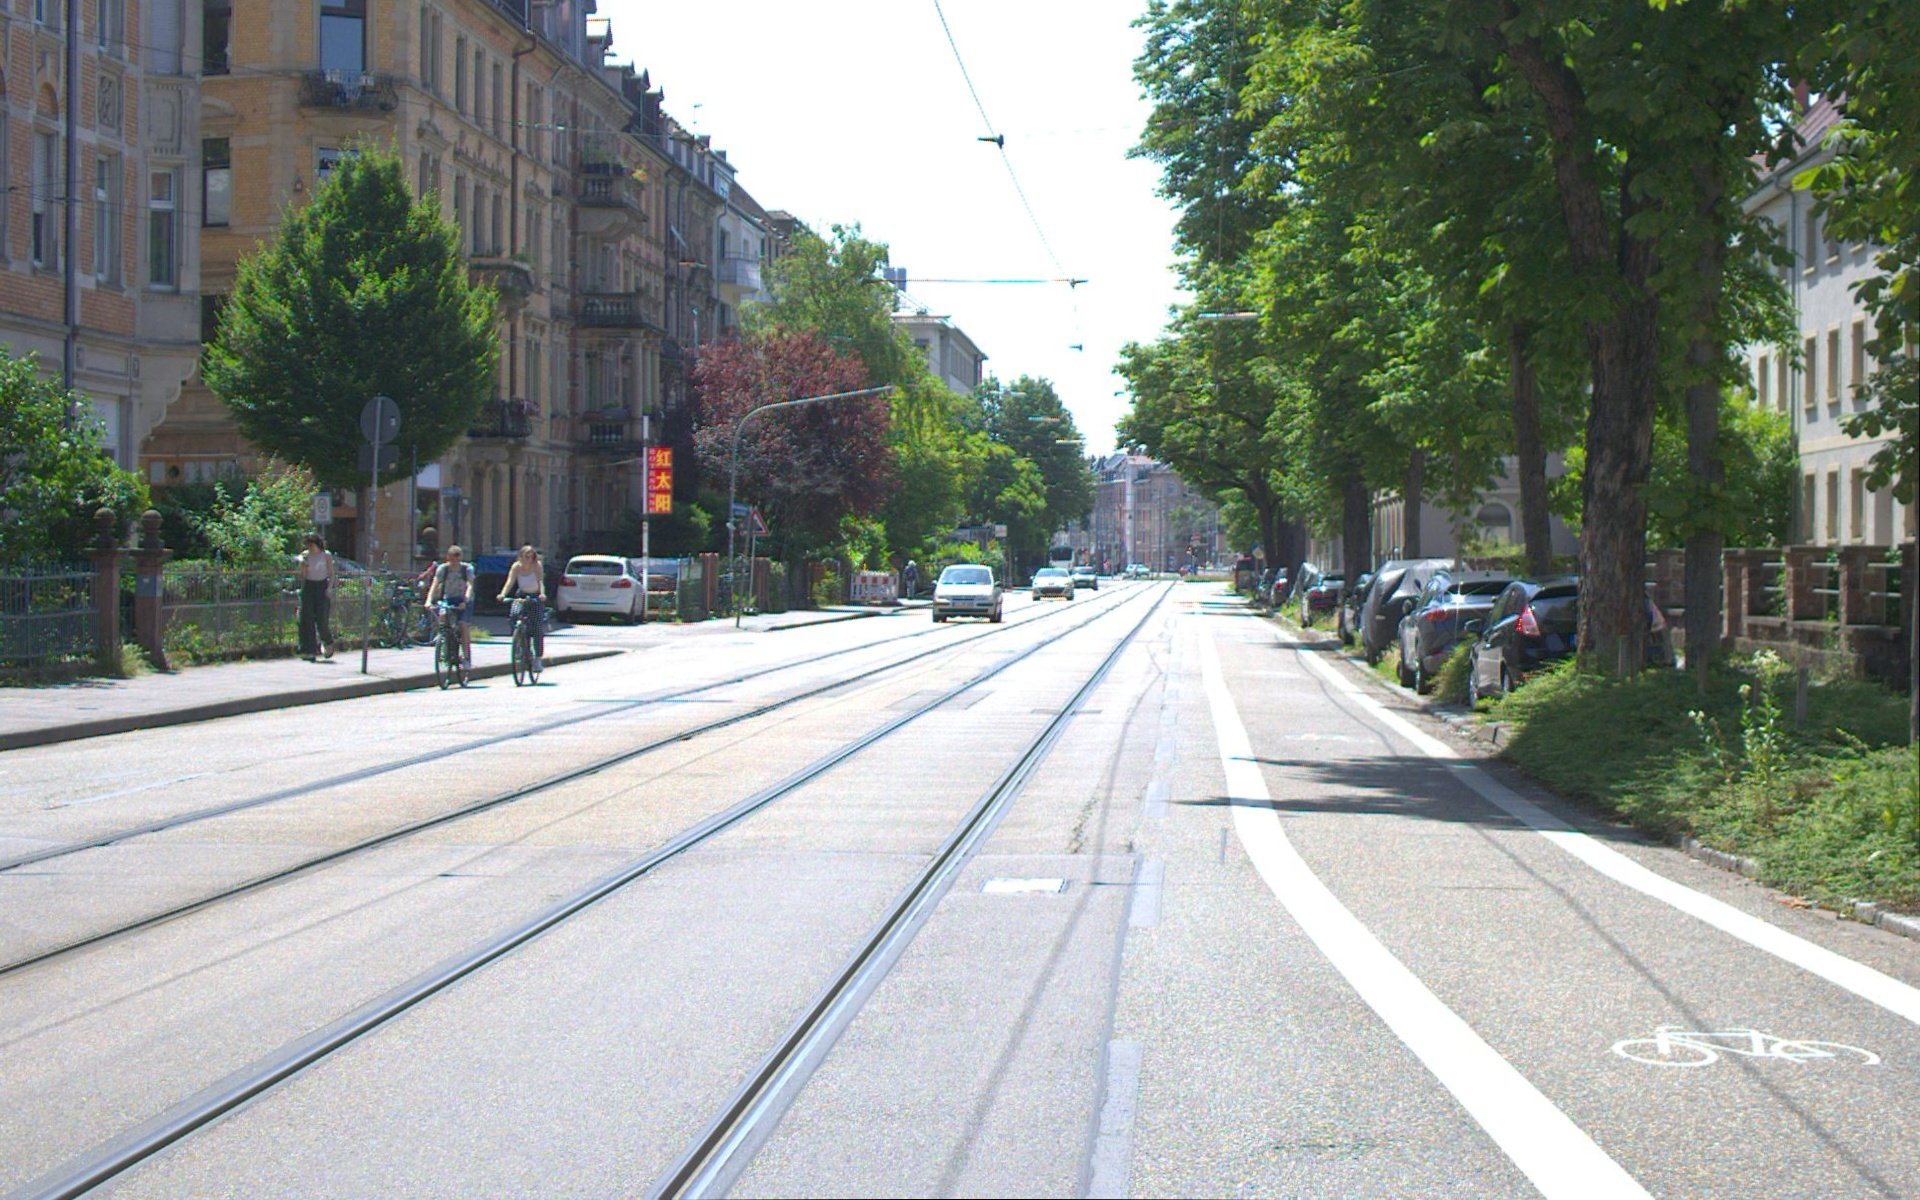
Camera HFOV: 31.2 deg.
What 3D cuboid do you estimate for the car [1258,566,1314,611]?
[{"bbox_3d":[11.452,-0.415,120.918,1.774,1.496,4.305,0,1,3],"label":"car"}]

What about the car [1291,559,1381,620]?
[{"bbox_3d":[9.165,-0.280,84.042,1.769,1.422,4.862,1,1,1],"label":"car"}]

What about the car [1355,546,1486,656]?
[{"bbox_3d":[7.284,-0.032,54.685,1.948,1.645,4.879,1,1,7],"label":"car"}]

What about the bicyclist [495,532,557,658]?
[{"bbox_3d":[-5.380,-0.068,42.667,0.592,1.539,0.952,0,1,3],"label":"bicyclist"}]

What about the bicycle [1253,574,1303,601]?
[{"bbox_3d":[12.473,-0.481,134.851,1.890,1.048,0.538,1,0,11],"label":"bicycle"}]

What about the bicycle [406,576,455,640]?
[{"bbox_3d":[-8.414,0.120,54.657,0.439,0.980,1.711,1,1,2],"label":"bicycle"}]

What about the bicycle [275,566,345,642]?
[{"bbox_3d":[-8.971,0.042,47.492,0.496,0.984,1.711,5,1,2],"label":"bicycle"}]

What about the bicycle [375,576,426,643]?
[{"bbox_3d":[-8.558,0.134,52.621,0.439,0.980,1.711,1,1,2],"label":"bicycle"}]

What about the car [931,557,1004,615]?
[{"bbox_3d":[0.215,-0.370,89.079,1.685,1.444,4.000,0,1,3],"label":"car"}]

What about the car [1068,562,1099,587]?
[{"bbox_3d":[7.353,-1.544,204.836,1.686,1.449,3.748,1,1,4],"label":"car"}]

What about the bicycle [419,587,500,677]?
[{"bbox_3d":[-6.204,0.381,42.707,0.629,1.074,1.875,0,1,3],"label":"bicycle"}]

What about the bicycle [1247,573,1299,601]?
[{"bbox_3d":[12.323,-0.514,135.339,1.964,1.059,0.598,1,0,11],"label":"bicycle"}]

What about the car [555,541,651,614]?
[{"bbox_3d":[-8.353,-0.535,80.759,1.865,1.594,4.102,2,1,-1],"label":"car"}]

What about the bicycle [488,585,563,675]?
[{"bbox_3d":[-5.382,0.364,42.623,0.581,1.074,1.890,0,1,3],"label":"bicycle"}]

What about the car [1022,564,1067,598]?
[{"bbox_3d":[3.675,-0.834,149.406,1.756,1.419,3.999,0,0,4],"label":"car"}]

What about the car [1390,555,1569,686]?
[{"bbox_3d":[6.567,0.215,43.877,1.732,1.546,4.453,1,1,2],"label":"car"}]

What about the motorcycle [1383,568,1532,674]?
[{"bbox_3d":[6.893,0.286,47.708,1.912,1.428,0.672,1,1,-5],"label":"motorcycle"}]

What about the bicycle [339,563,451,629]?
[{"bbox_3d":[-9.216,-0.065,56.075,1.706,1.033,0.551,1,1,8],"label":"bicycle"}]

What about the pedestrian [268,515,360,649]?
[{"bbox_3d":[-8.619,-0.248,45.906,0.851,1.717,1.138,4,1,4],"label":"pedestrian"}]

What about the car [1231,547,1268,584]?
[{"bbox_3d":[16.325,-1.956,193.854,1.993,2.028,4.696,1,1,4],"label":"car"}]

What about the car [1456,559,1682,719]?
[{"bbox_3d":[6.183,0.352,35.284,1.656,1.510,4.000,1,1,1],"label":"car"}]

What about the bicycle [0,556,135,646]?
[{"bbox_3d":[-10.612,0.007,40.819,1.510,1.040,0.495,1,1,5],"label":"bicycle"}]

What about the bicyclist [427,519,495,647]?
[{"bbox_3d":[-6.206,-0.214,42.756,0.634,1.579,1.028,0,1,3],"label":"bicyclist"}]

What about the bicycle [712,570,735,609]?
[{"bbox_3d":[-6.166,-0.277,89.684,0.454,1.000,1.806,1,1,0],"label":"bicycle"}]

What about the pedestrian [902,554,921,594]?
[{"bbox_3d":[-1.981,-1.062,140.045,0.751,1.623,0.833,1,0,-1],"label":"pedestrian"}]

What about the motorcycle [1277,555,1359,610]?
[{"bbox_3d":[10.350,-0.497,99.402,0.867,1.535,2.319,0,1,-43],"label":"motorcycle"}]
